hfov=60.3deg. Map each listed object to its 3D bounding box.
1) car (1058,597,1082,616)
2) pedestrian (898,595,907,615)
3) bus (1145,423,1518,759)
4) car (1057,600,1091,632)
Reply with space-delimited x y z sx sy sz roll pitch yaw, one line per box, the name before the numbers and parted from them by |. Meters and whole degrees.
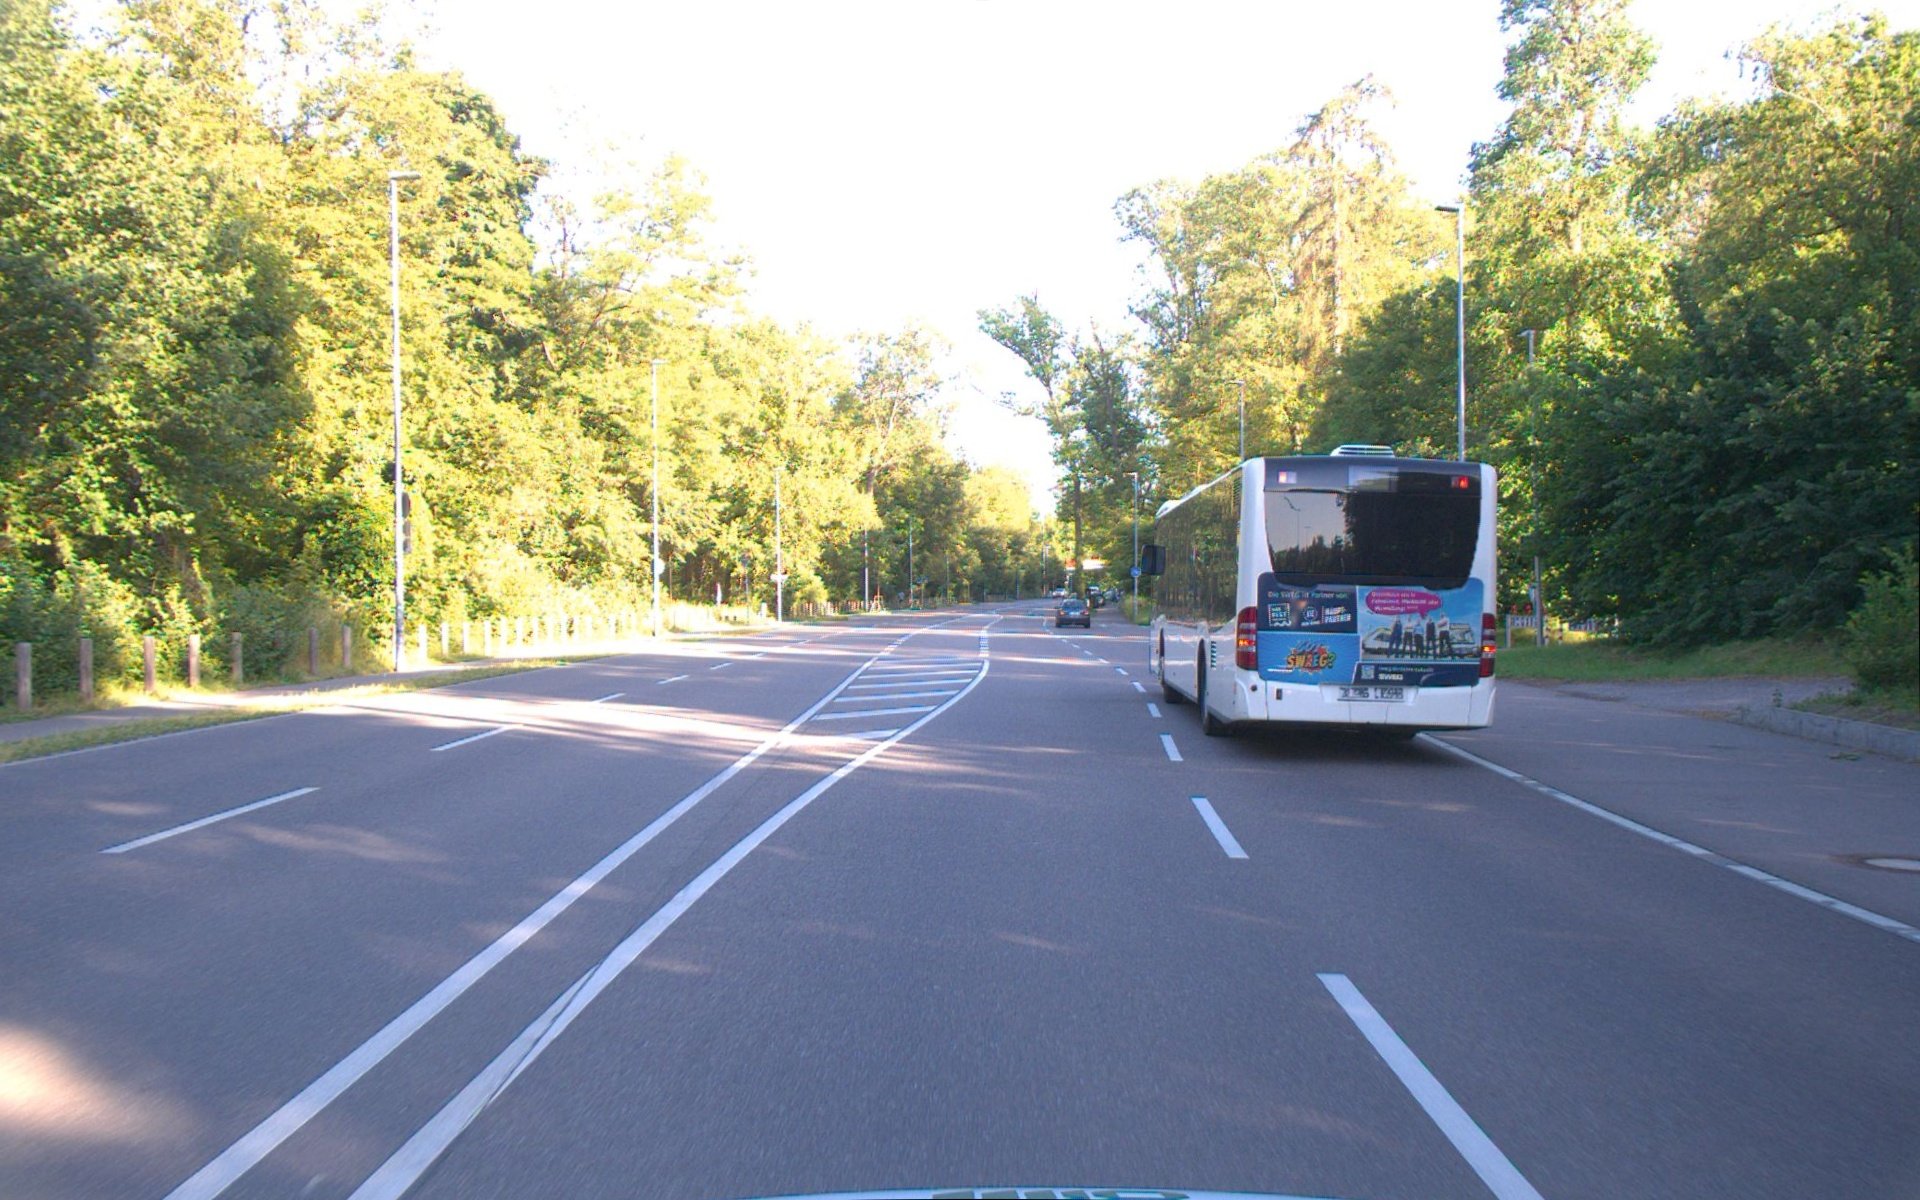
car | 9.995 0.611 150.379 1.597 1.688 4.135 1 0 11
pedestrian | -5.360 0.466 153.084 0.763 1.844 0.770 0 0 2
bus | 4.133 -0.057 21.441 2.633 3.096 12.044 1 0 3
car | 5.844 0.789 84.687 1.597 1.574 4.134 1 0 6
